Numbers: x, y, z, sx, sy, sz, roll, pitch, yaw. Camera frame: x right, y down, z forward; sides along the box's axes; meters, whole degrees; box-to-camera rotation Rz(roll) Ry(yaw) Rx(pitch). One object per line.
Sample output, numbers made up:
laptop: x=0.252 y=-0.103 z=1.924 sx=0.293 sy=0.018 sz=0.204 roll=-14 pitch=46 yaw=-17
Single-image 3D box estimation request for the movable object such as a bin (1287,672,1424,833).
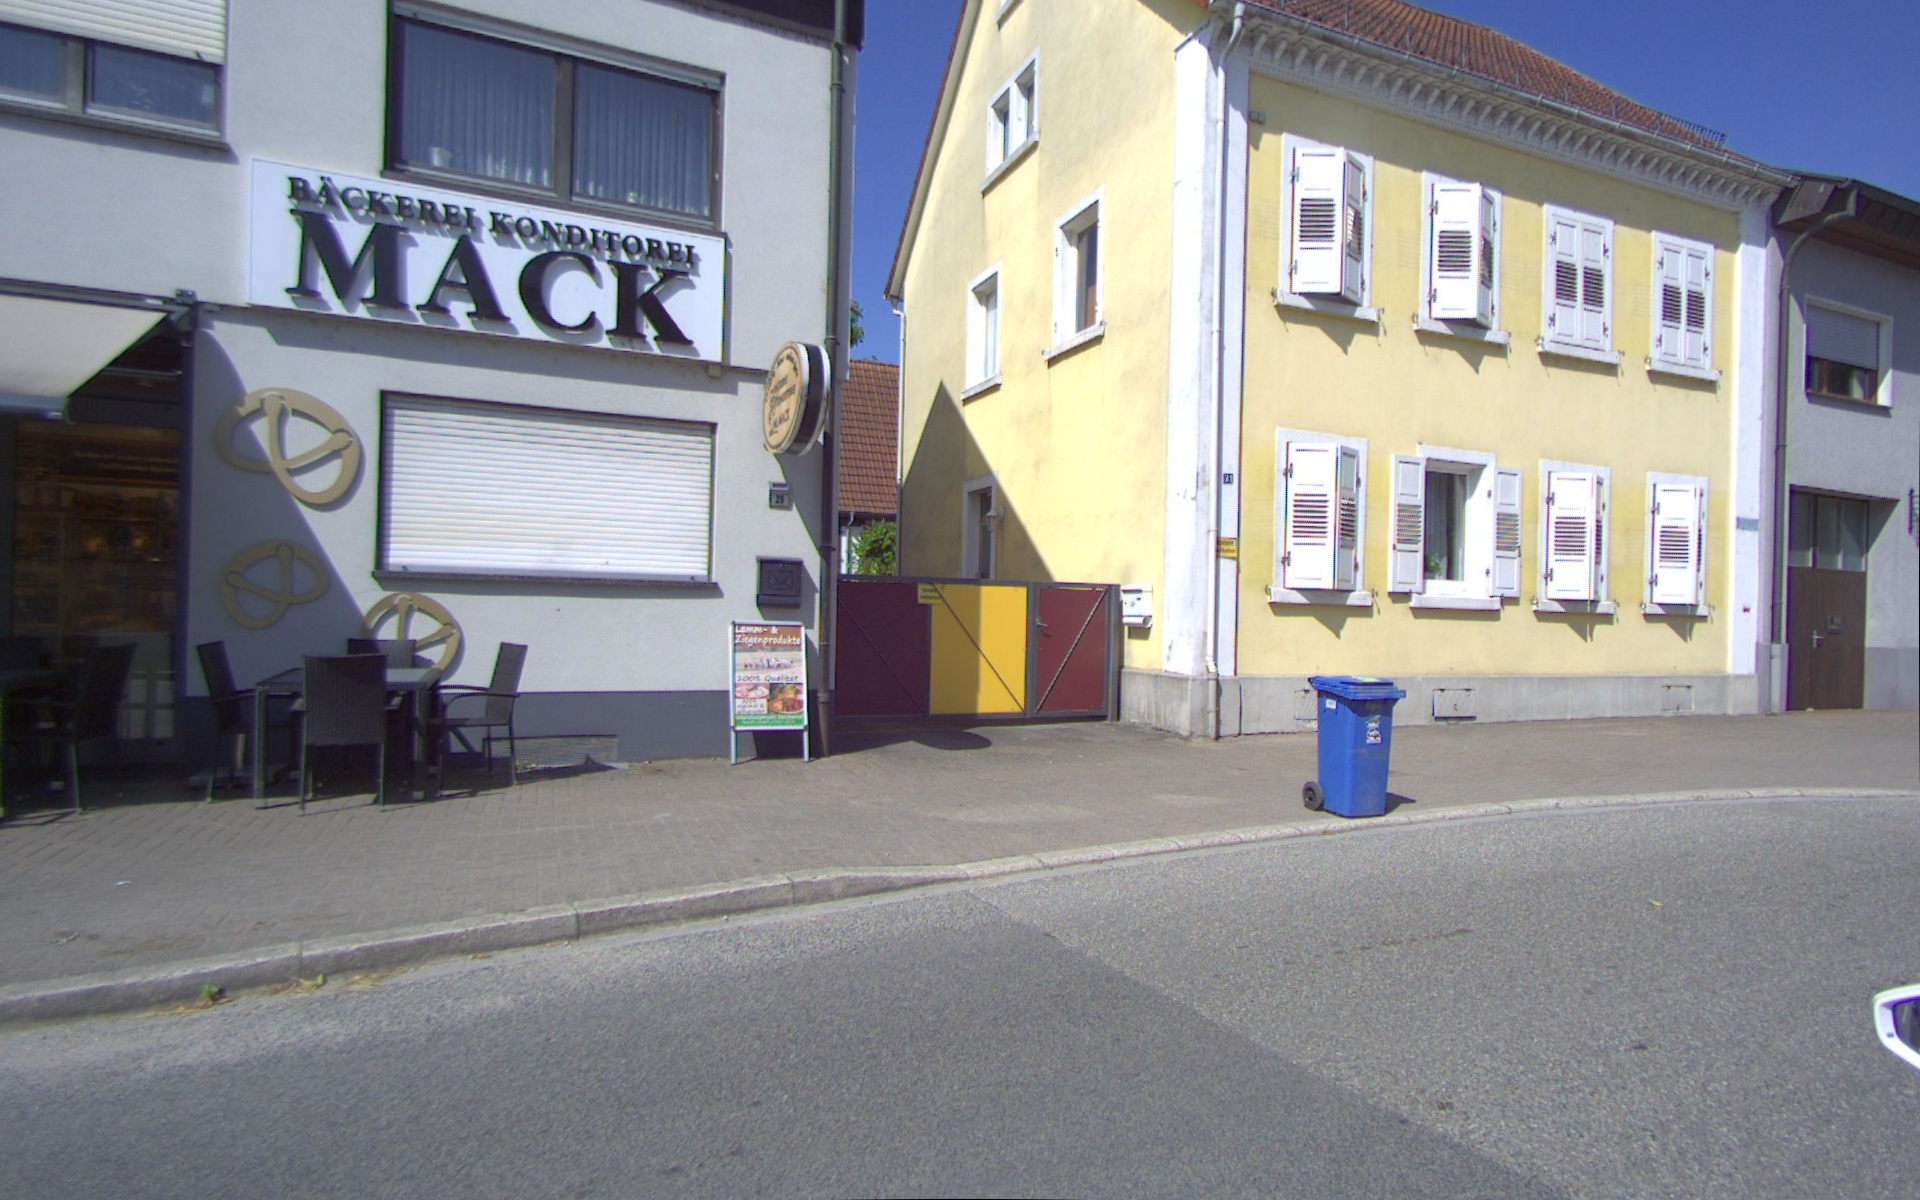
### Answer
movable object such as a bin: x=2.738 y=1.024 z=6.974 sx=0.607 sy=0.994 sz=0.639 roll=1 pitch=0 yaw=-31
